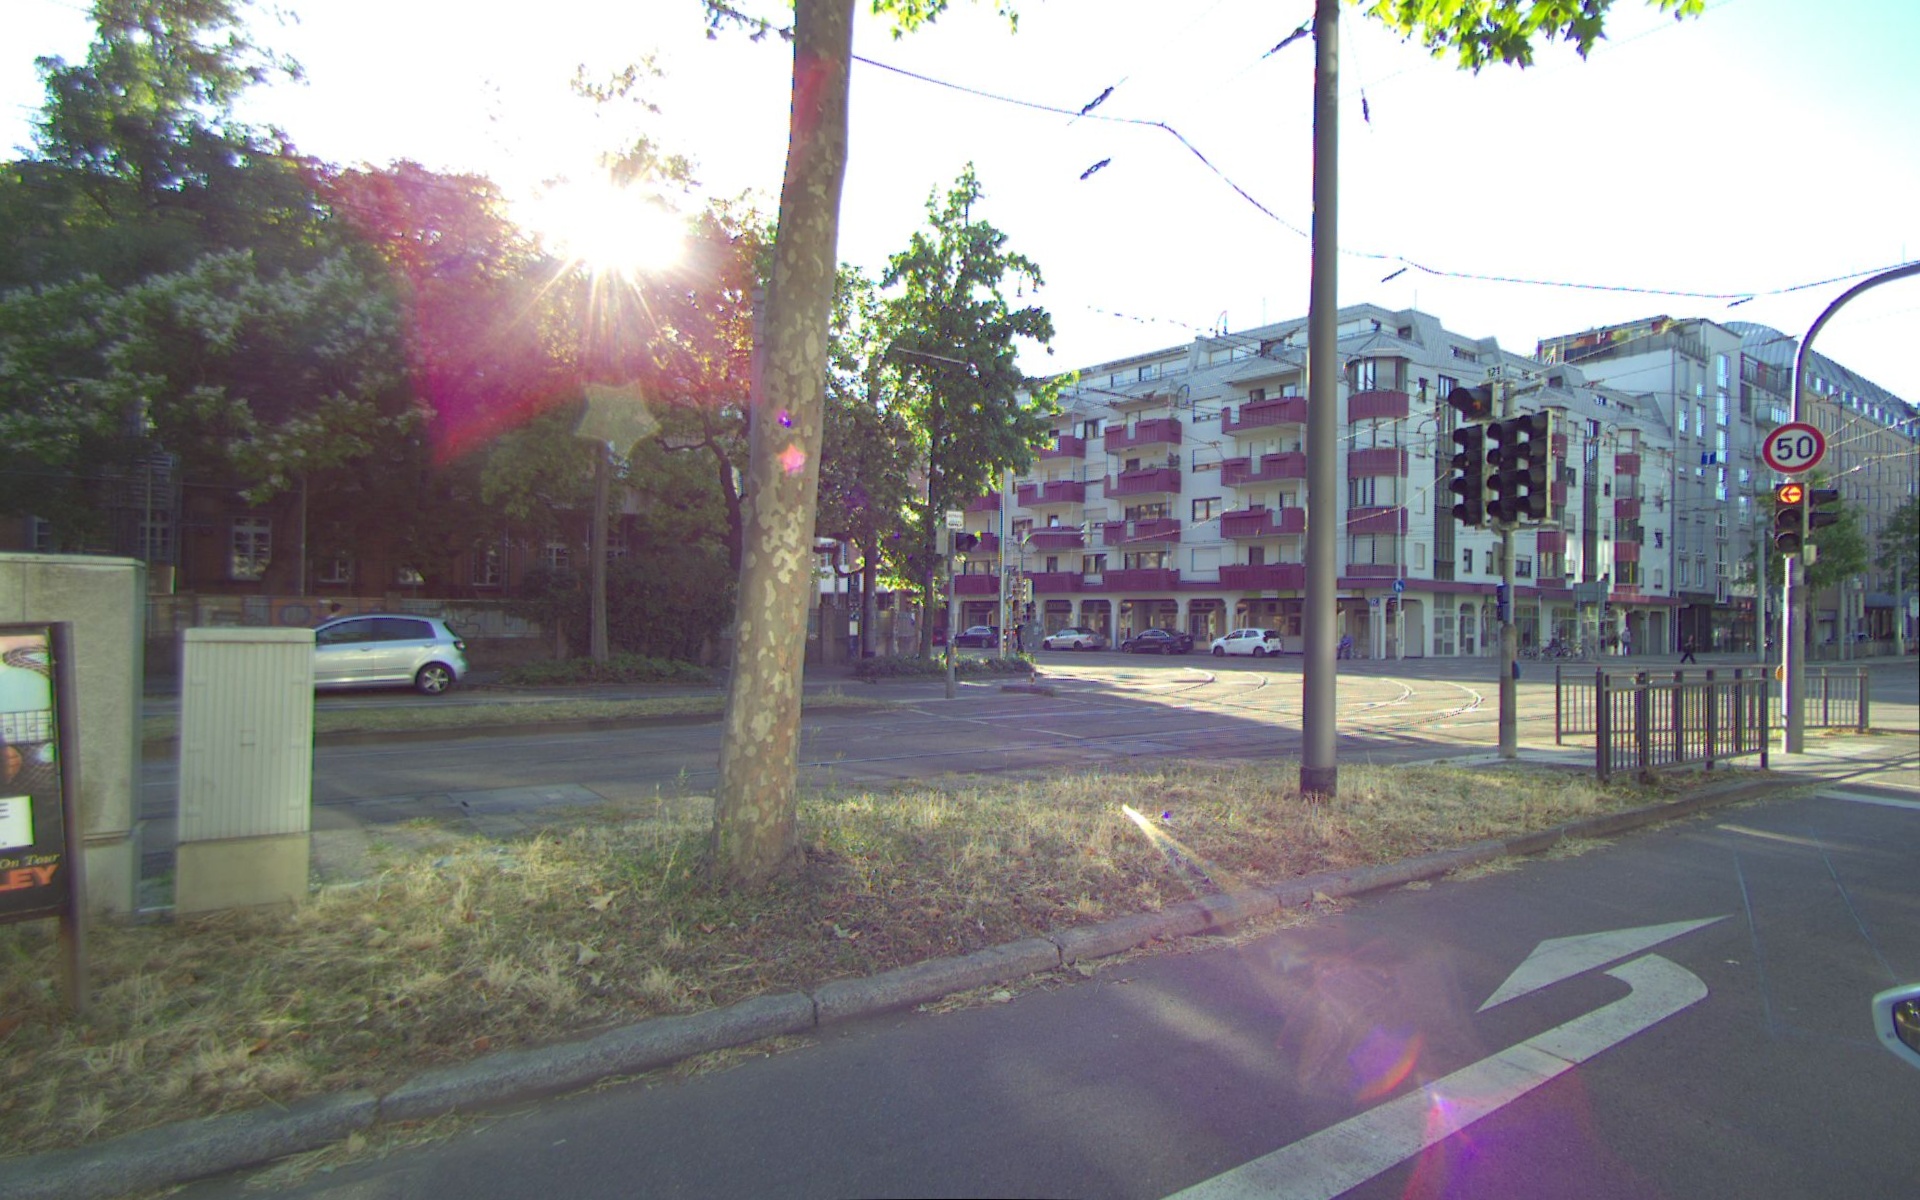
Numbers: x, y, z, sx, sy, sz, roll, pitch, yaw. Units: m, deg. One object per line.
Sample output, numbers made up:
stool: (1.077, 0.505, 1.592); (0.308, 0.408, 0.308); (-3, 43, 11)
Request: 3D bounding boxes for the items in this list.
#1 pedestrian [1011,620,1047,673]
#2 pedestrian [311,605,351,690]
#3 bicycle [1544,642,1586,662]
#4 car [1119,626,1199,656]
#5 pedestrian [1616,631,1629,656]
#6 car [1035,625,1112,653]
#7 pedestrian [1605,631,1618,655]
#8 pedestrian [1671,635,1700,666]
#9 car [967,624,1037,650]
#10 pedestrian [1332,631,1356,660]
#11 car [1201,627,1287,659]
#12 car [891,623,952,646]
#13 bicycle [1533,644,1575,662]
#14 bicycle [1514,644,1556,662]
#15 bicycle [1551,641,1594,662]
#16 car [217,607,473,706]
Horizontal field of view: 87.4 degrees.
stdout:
pedestrian: (2.344, 1.561, 34.065); (1.010, 1.775, 0.728); (1, -1, -37)
pedestrian: (-12.848, 0.959, 20.513); (0.626, 1.687, 0.563); (1, 1, -37)
bicycle: (31.428, 2.678, 52.206); (0.548, 0.998, 1.830); (1, -1, -36)
car: (11.166, 2.276, 56.614); (1.986, 1.576, 4.072); (2, -2, -42)
pedestrian: (41.294, 2.701, 62.623); (0.582, 1.514, 0.530); (1, -1, -38)
car: (6.894, 2.360, 61.201); (1.986, 1.576, 4.527); (2, -2, -42)
pedestrian: (40.825, 2.689, 62.976); (0.582, 1.514, 0.530); (1, -1, -38)
pedestrian: (38.091, 2.638, 52.743); (0.684, 1.564, 1.045); (1, -1, -19)
car: (2.728, 2.425, 66.241); (1.986, 1.576, 4.527); (2, -2, -42)
pedestrian: (19.098, 2.256, 49.902); (0.848, 1.402, 0.831); (0, -1, 45)
car: (14.895, 2.251, 52.769); (1.986, 1.576, 3.950); (2, -2, -42)
car: (-2.803, 2.458, 72.213); (1.986, 1.576, 4.527); (2, -2, -42)
bicycle: (30.415, 2.686, 51.452); (0.547, 0.865, 1.833); (1, -1, -32)
bicycle: (29.497, 2.691, 51.532); (0.547, 0.865, 1.833); (1, -1, -32)
bicycle: (31.984, 2.678, 52.456); (0.548, 0.998, 1.830); (1, -1, -36)
car: (-11.963, 1.046, 19.628); (4.062, 1.641, 2.065); (2, 1, -38)
